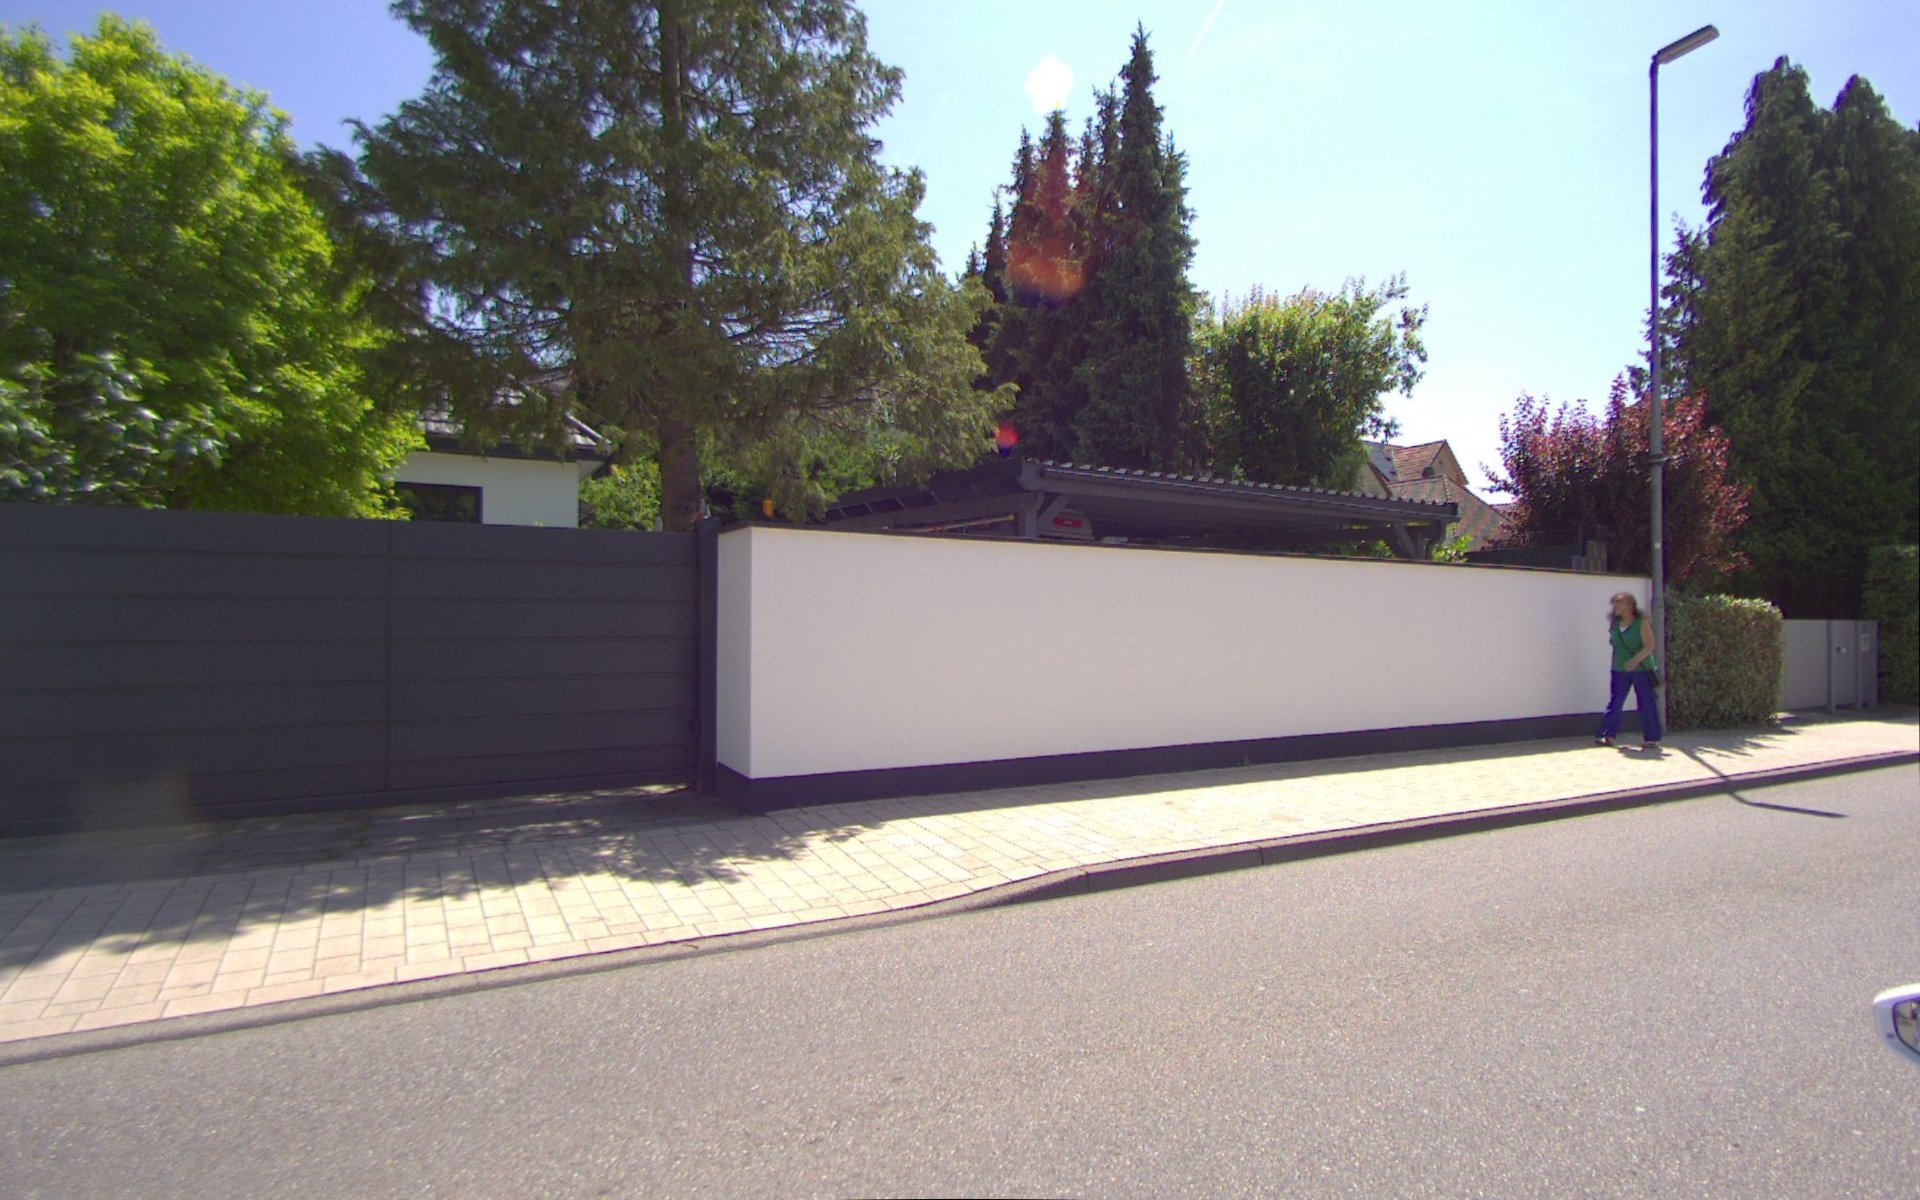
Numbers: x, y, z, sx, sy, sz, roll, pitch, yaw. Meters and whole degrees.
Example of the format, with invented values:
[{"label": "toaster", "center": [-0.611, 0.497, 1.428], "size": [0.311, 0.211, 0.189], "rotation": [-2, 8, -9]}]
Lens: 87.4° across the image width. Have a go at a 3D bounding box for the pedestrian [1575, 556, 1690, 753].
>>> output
[{"label": "pedestrian", "center": [7.294, 0.570, 10.904], "size": [0.795, 2.040, 0.717], "rotation": [2, 0, -31]}]
